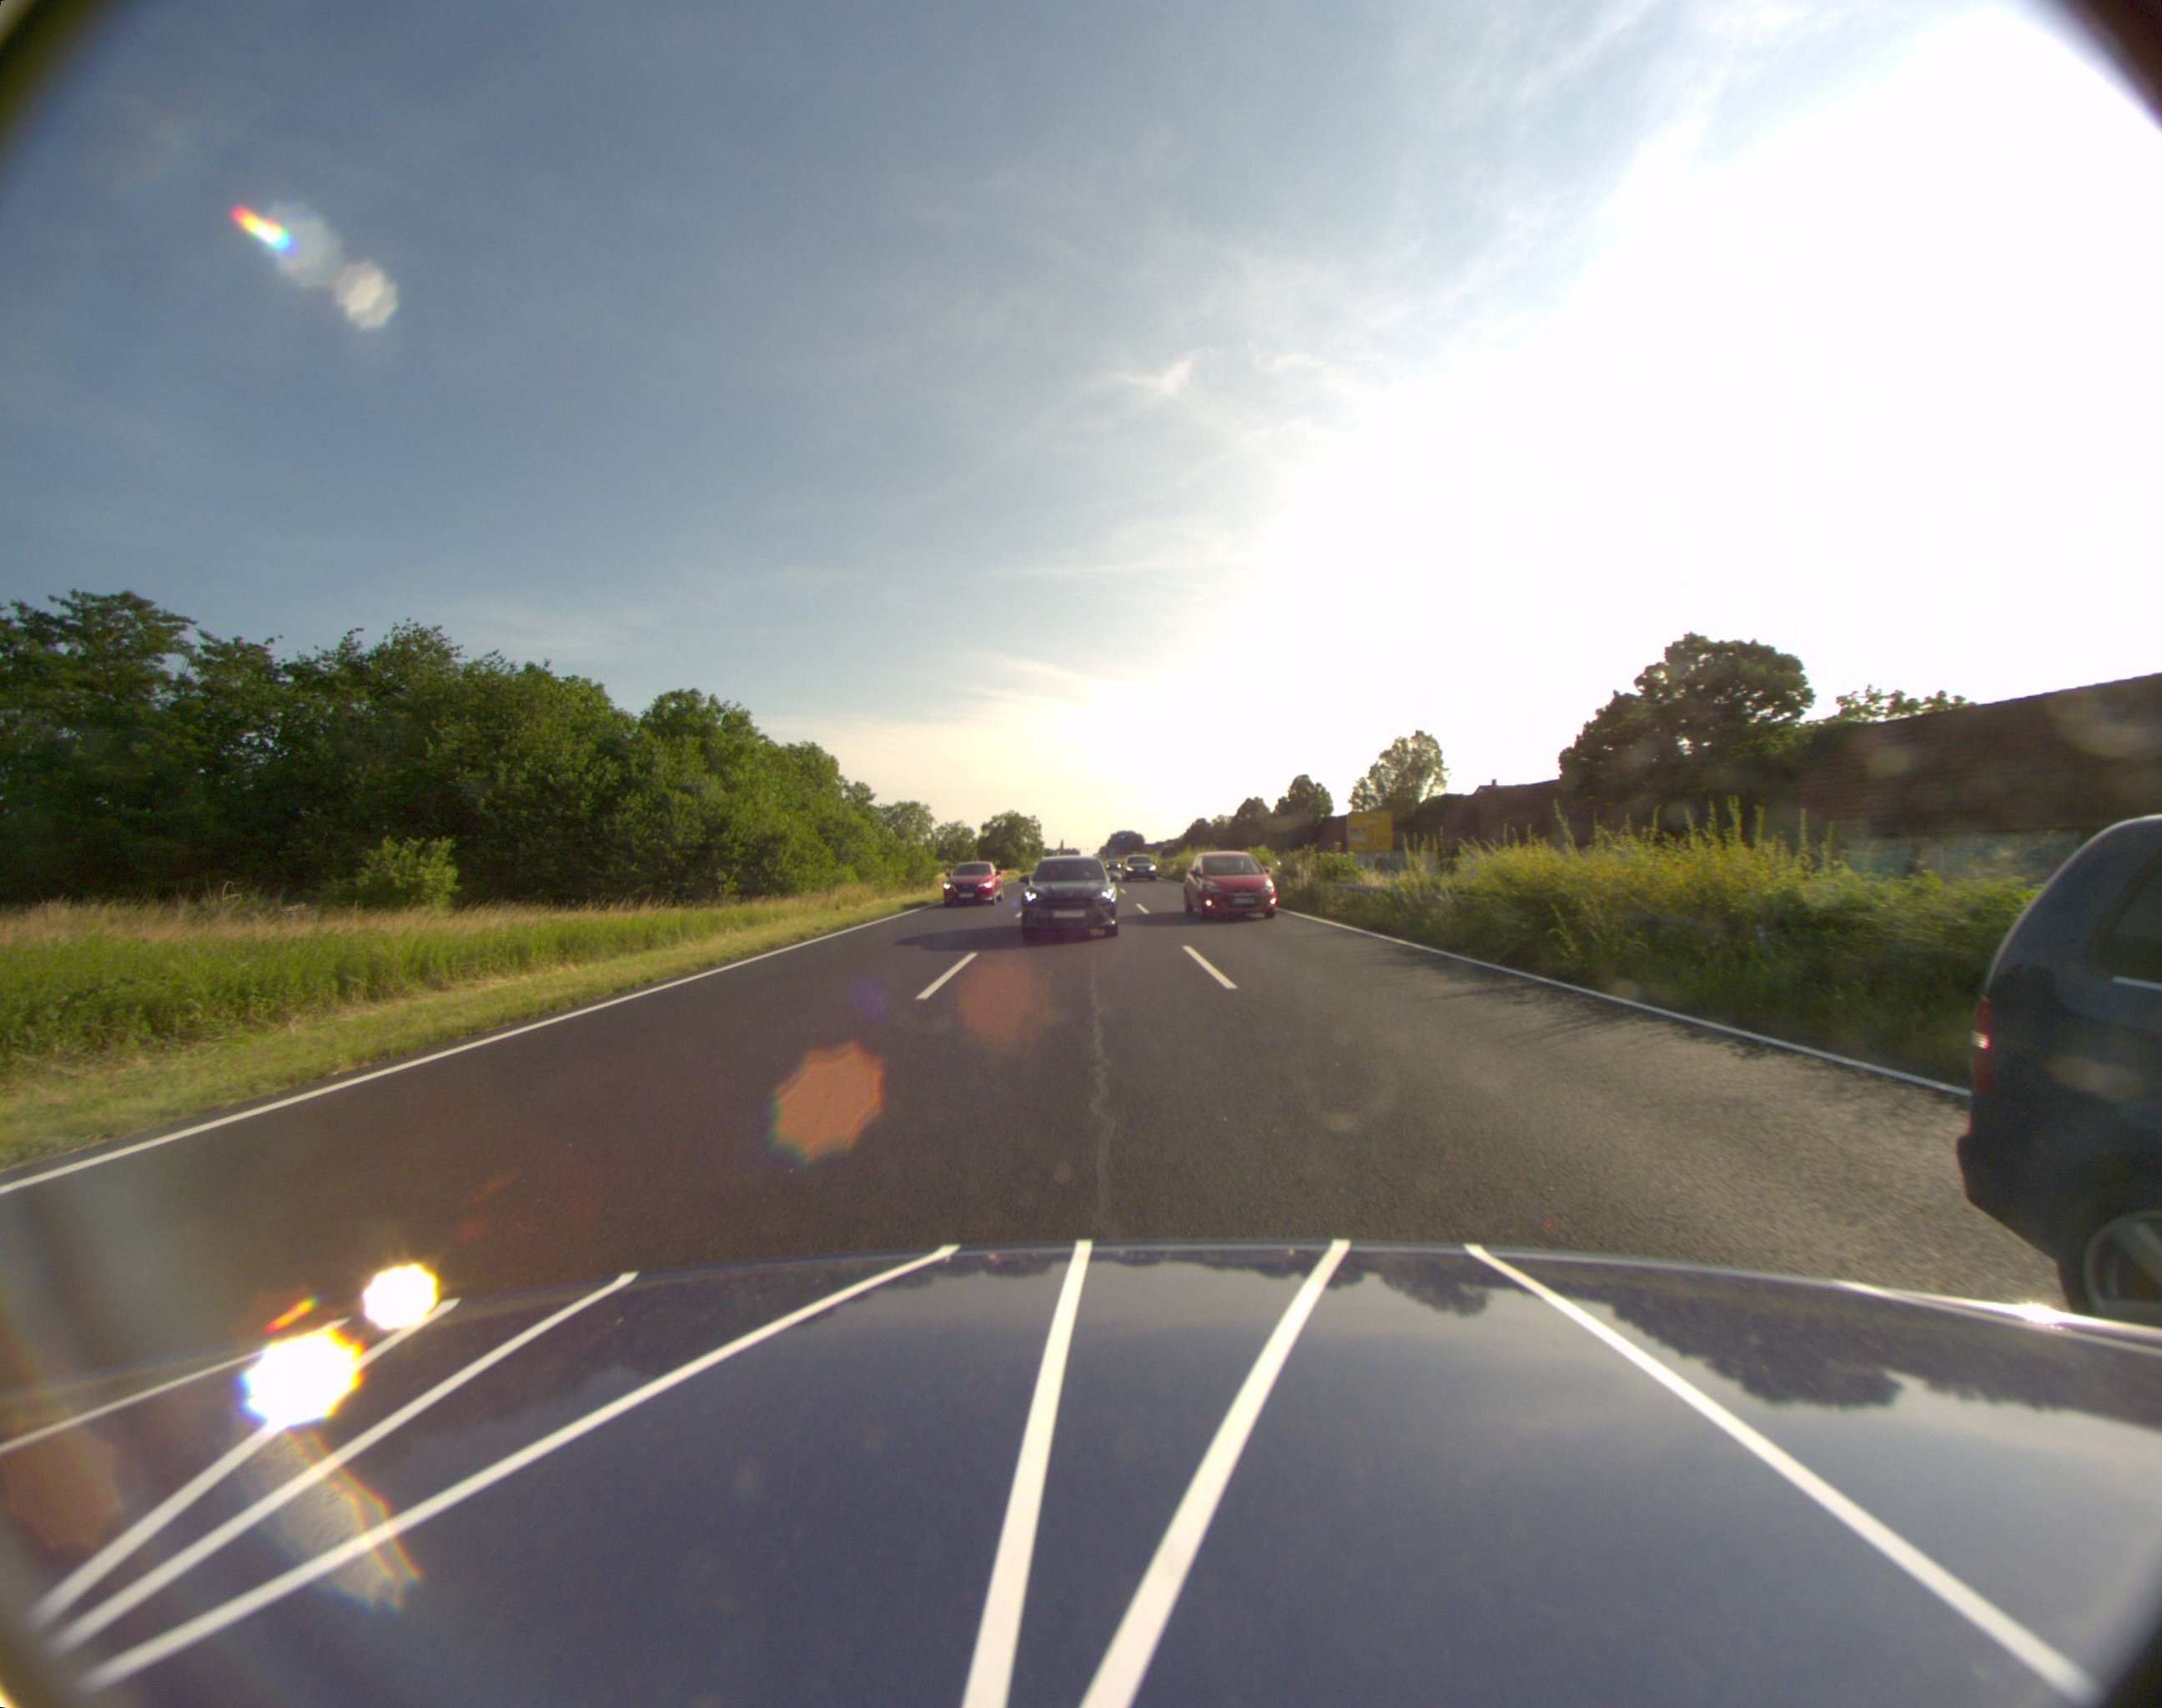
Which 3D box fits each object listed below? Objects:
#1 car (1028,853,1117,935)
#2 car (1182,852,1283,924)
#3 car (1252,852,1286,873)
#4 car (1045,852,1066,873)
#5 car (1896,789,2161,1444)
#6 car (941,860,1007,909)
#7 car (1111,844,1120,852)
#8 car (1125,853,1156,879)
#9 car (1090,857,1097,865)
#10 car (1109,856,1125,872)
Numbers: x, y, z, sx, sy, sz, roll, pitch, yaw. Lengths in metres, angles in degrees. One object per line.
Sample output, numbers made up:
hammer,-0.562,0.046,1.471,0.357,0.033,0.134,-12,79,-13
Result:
car,-0.148,0.829,17.869,1.791,1.594,4.339,-2,1,1
car,3.652,0.754,18.982,1.748,1.537,3.999,-2,1,1
car,15.087,0.662,61.283,1.693,1.500,4.185,-2,1,0
car,-2.627,0.850,78.413,1.999,2.002,3.998,-2,1,-2
car,3.502,0.649,0.122,1.777,1.612,4.681,-1,1,1
car,-3.792,1.027,27.668,1.708,1.497,4.500,-2,1,0
car,8.817,-1.622,192.863,1.998,2.002,3.999,-2,1,1
car,3.835,0.746,49.365,1.719,1.521,3.999,-2,1,1
car,3.798,2.109,229.371,1.998,2.002,3.999,-2,1,1
car,4.650,1.301,99.358,1.918,1.871,3.999,-2,1,1
